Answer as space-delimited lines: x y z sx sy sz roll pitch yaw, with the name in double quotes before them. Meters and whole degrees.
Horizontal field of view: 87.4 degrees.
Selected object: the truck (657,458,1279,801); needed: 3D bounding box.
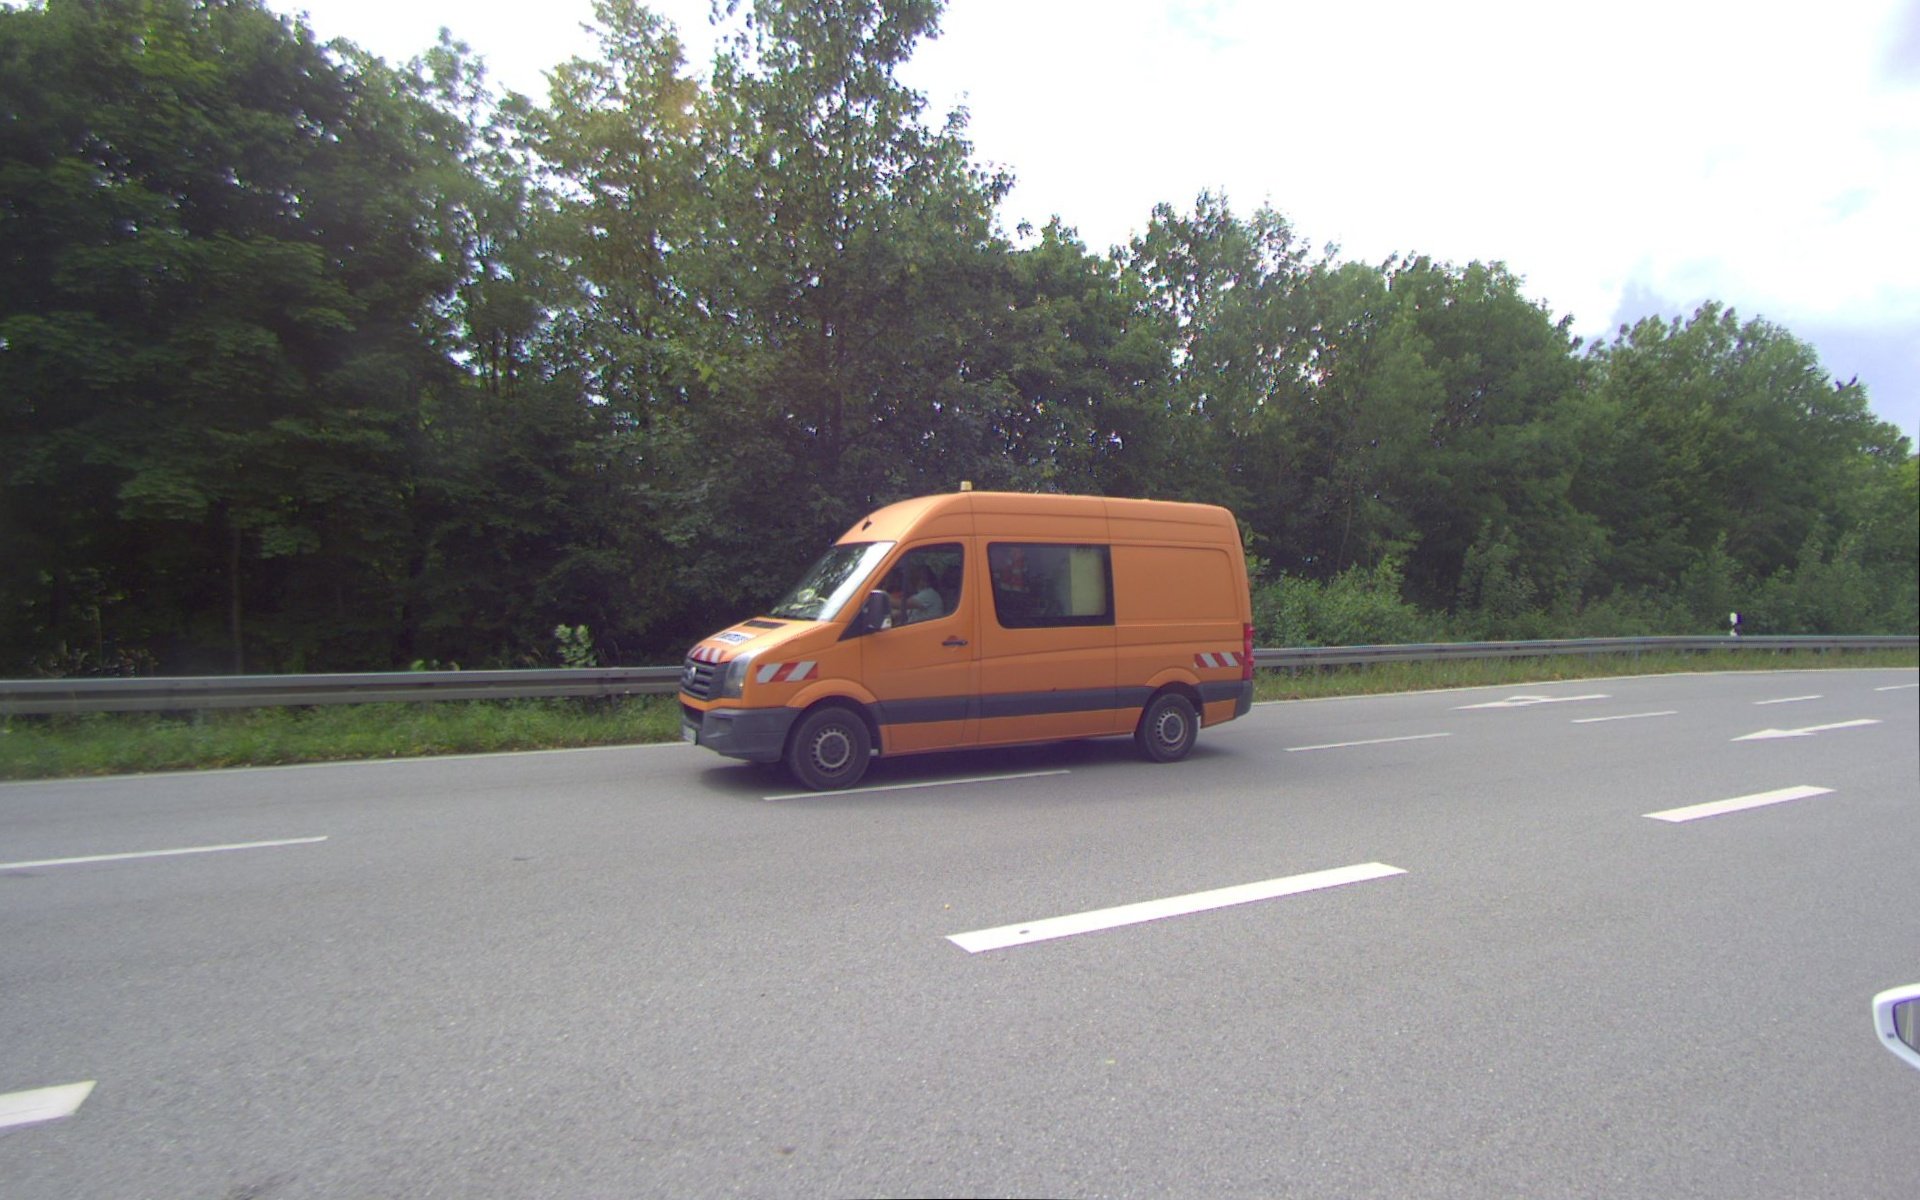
"truck" 0.207 0.246 10.184 5.948 2.636 2.306 1 0 -29
